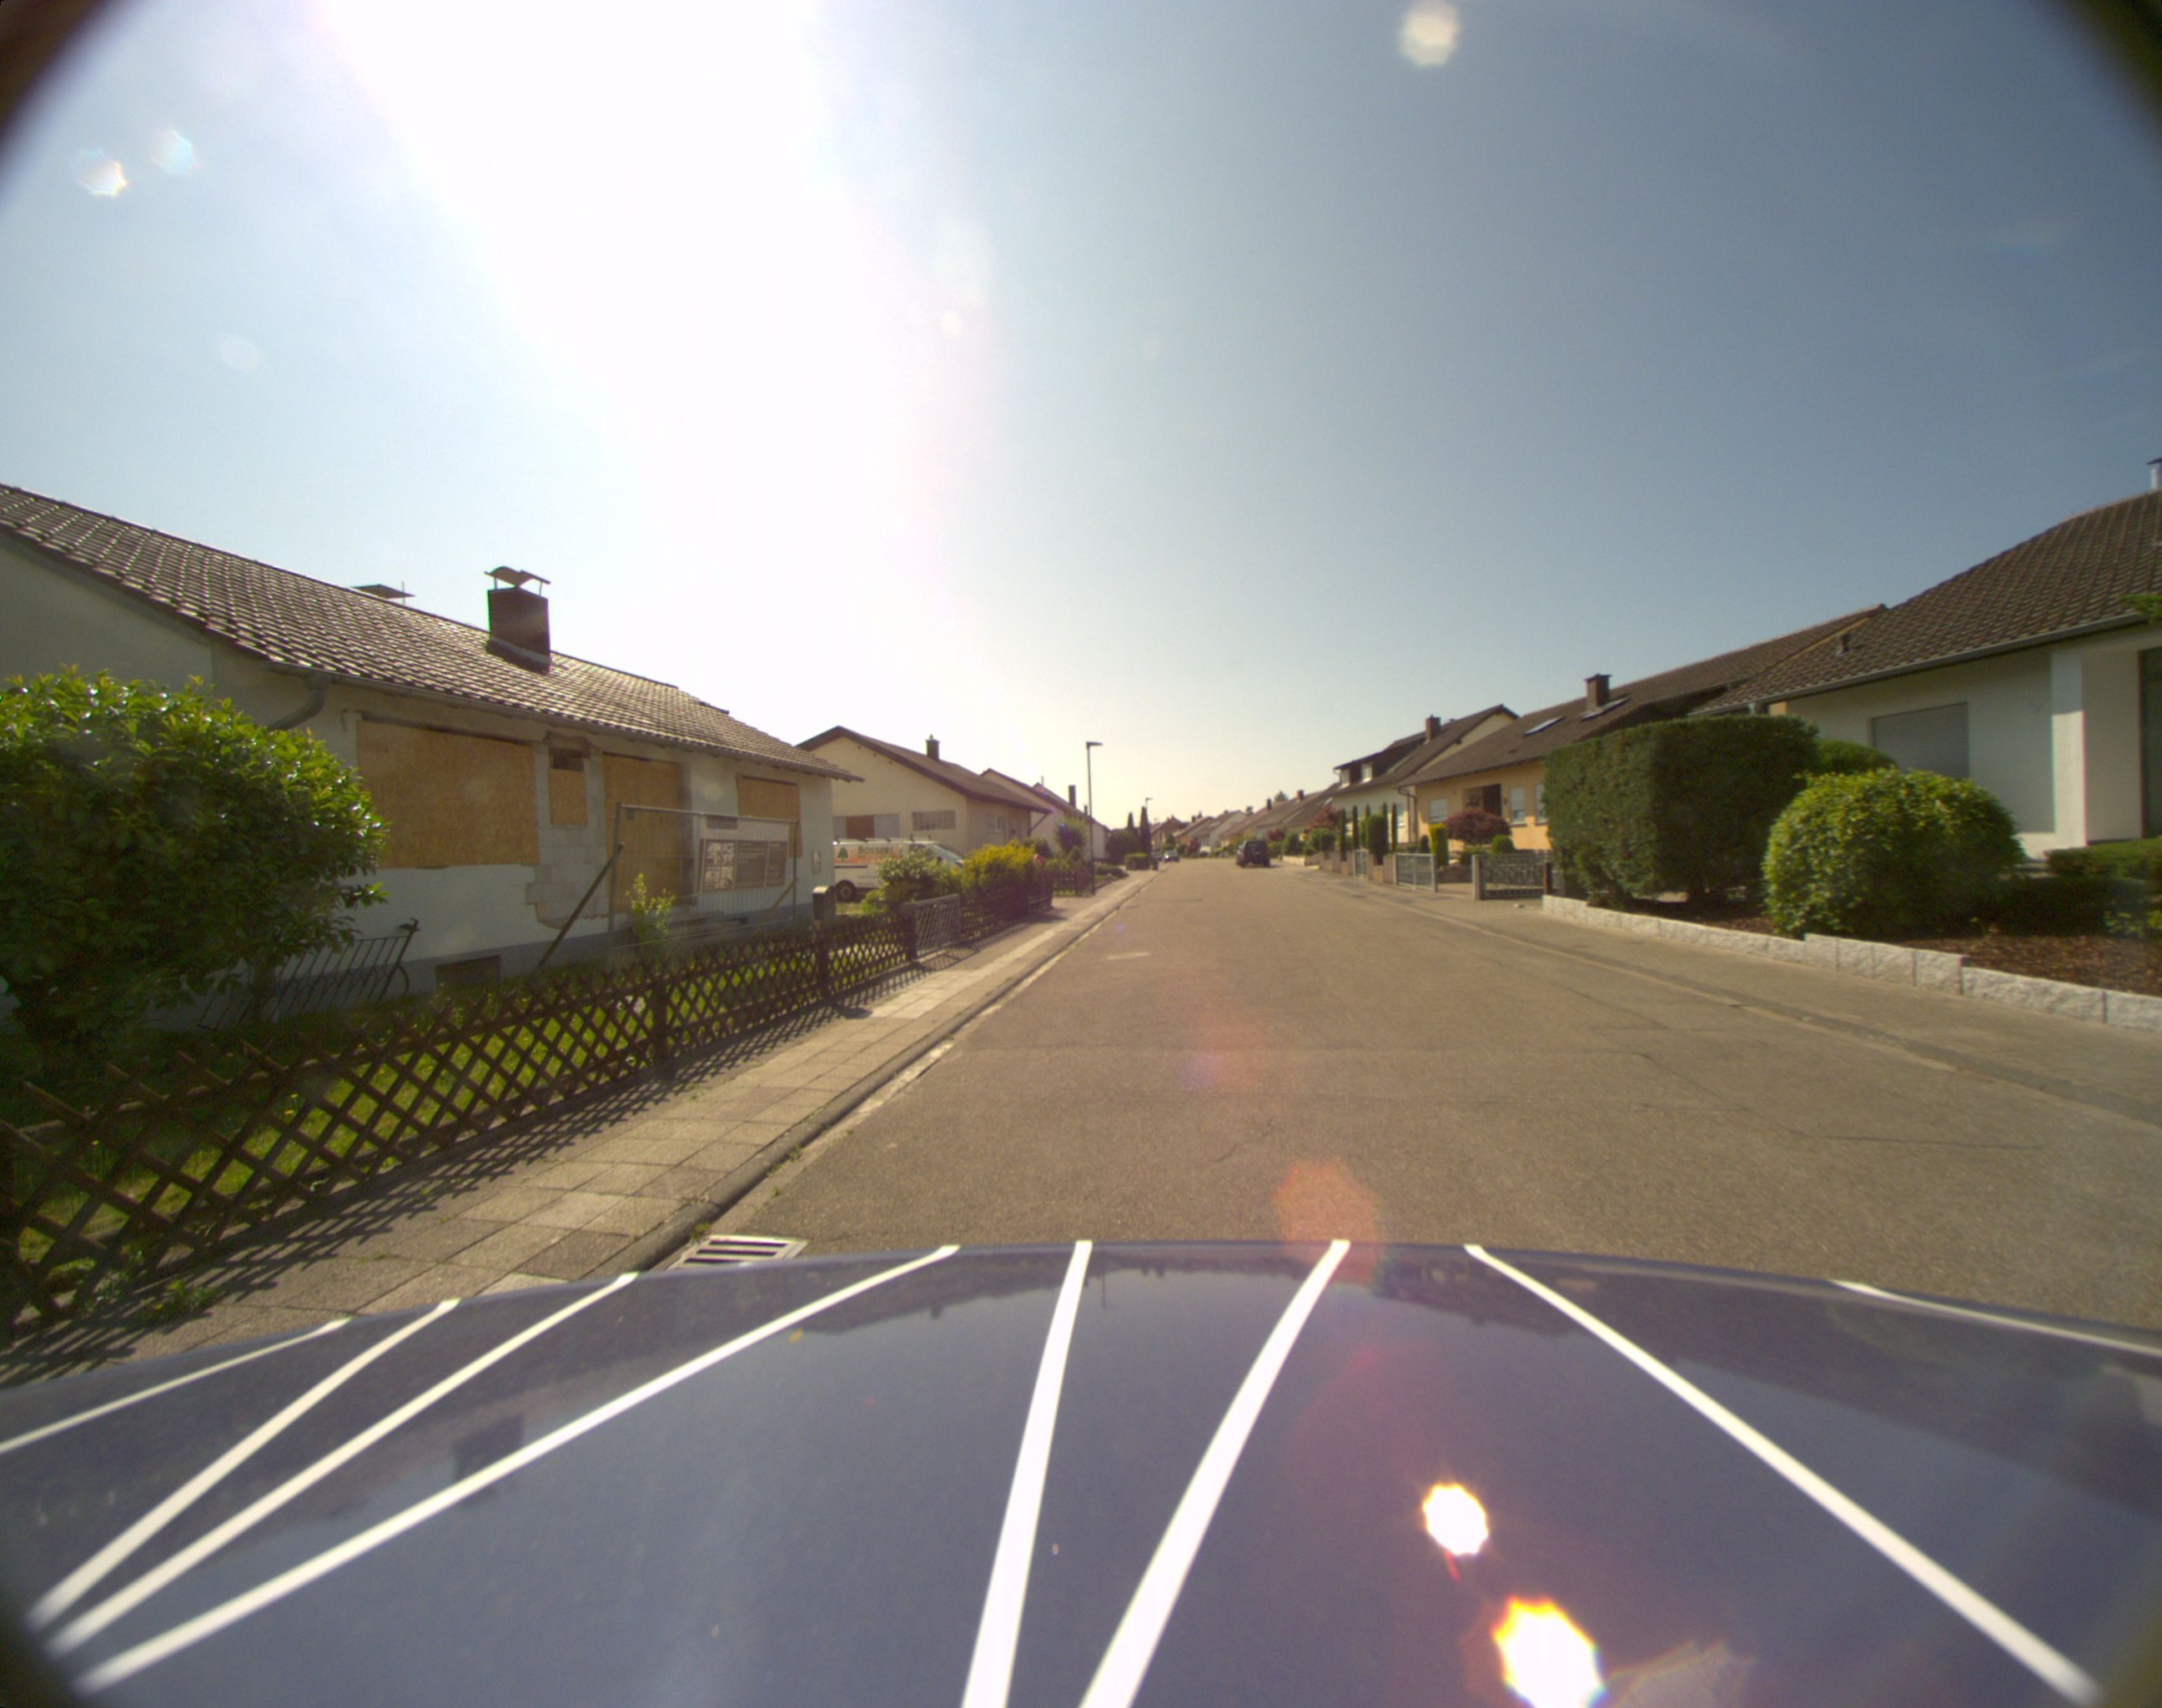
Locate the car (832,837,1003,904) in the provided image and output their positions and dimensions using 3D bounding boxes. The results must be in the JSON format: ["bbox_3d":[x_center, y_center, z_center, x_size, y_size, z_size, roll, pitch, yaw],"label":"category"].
[{"bbox_3d":[-5.252,0.515,24.647,5.004,2.002,1.869,-1,1,11],"label":"car"}]

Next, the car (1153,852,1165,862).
[{"bbox_3d":[11.082,0.421,107.882,1.458,1.270,3.103,-1,1,2],"label":"car"}]

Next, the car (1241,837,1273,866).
[{"bbox_3d":[11.520,-0.182,49.846,1.768,1.767,3.654,-2,1,9],"label":"car"}]

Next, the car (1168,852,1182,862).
[{"bbox_3d":[11.746,0.370,95.020,1.458,1.270,3.104,-1,1,3],"label":"car"}]

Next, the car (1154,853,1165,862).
[{"bbox_3d":[12.202,0.576,118.090,1.458,1.270,3.104,-1,1,4],"label":"car"}]
